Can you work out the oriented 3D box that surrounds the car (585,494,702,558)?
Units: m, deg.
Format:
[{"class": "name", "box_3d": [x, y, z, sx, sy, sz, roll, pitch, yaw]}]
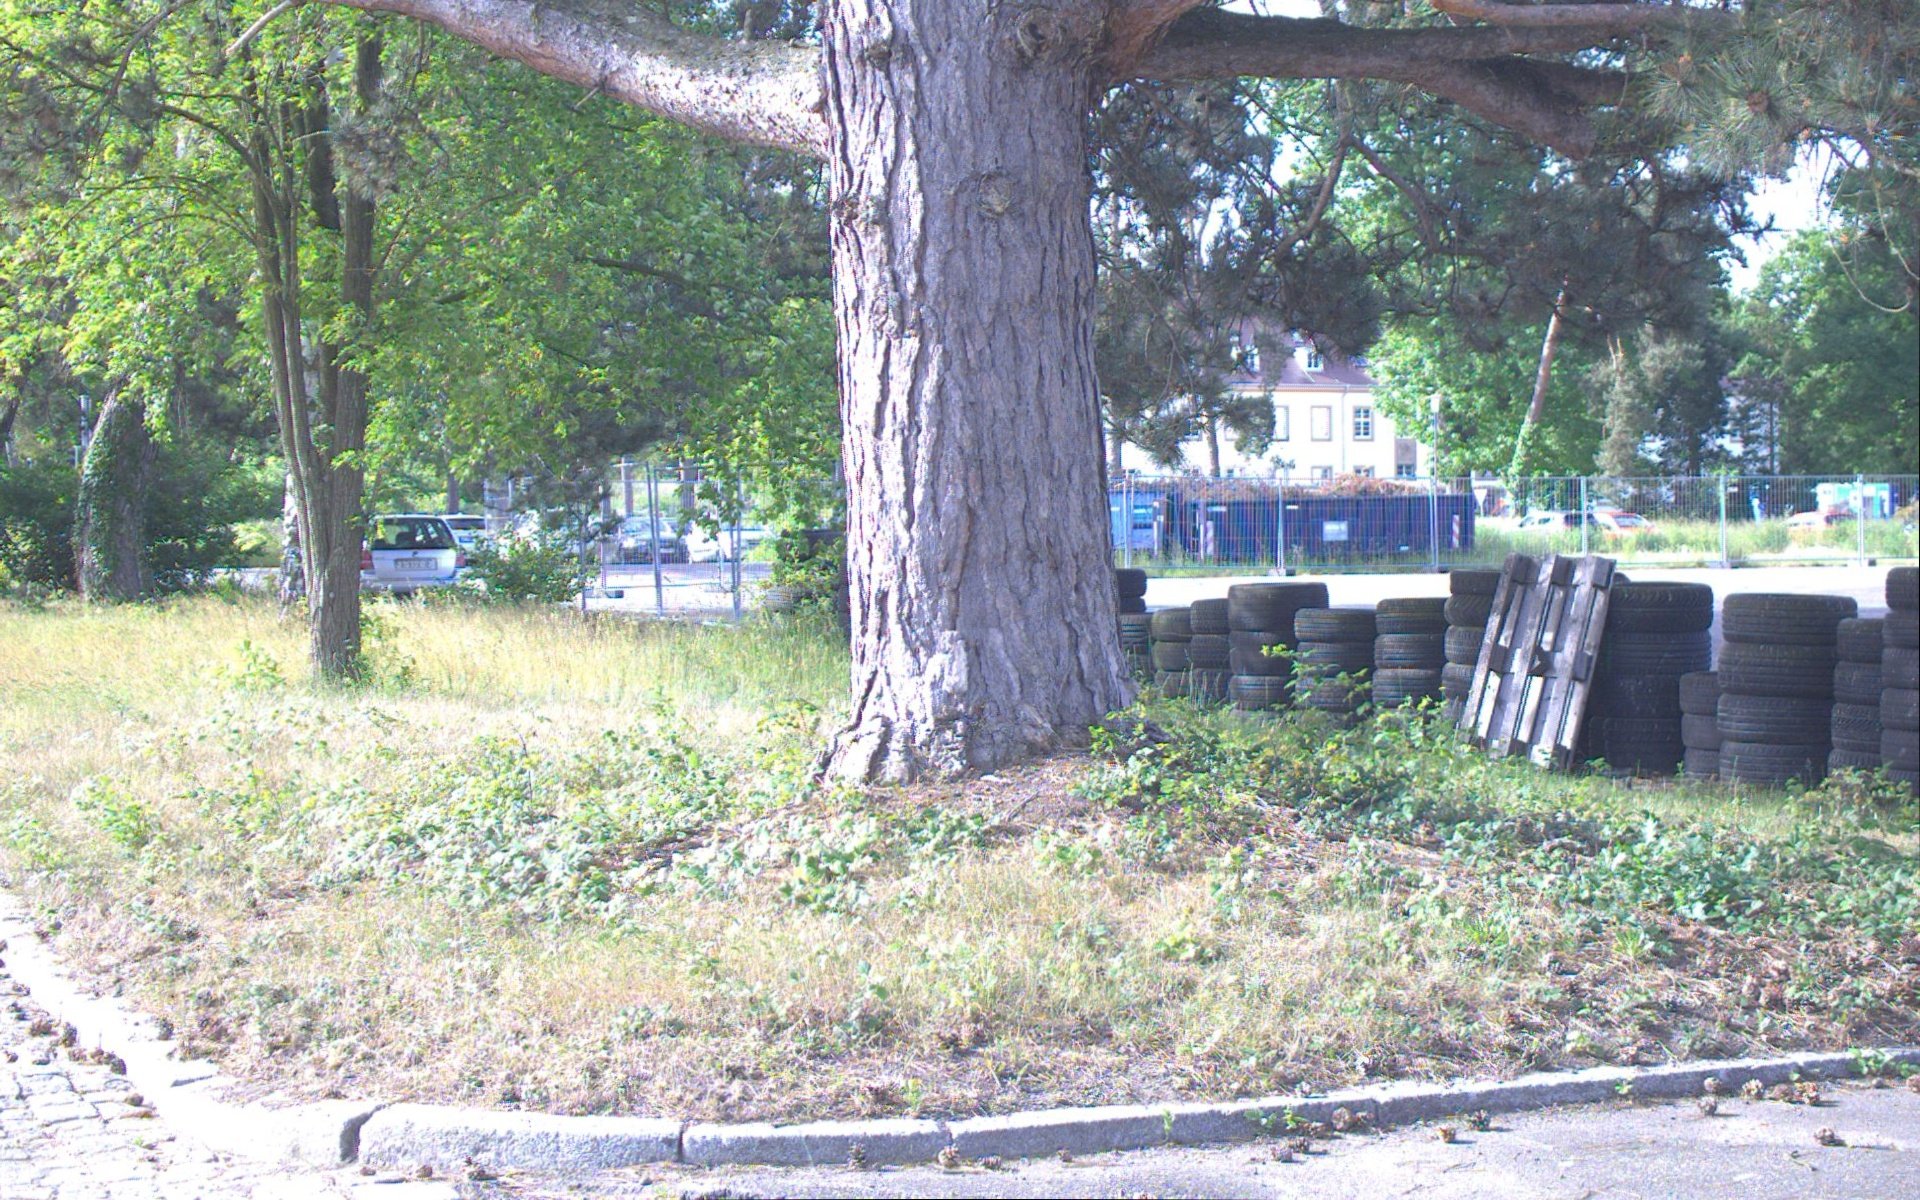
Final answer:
[{"class": "car", "box_3d": [-8.288, -1.934, 89.769, 1.993, 1.612, 4.001, -1, 2, -22]}]

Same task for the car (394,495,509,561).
[{"class": "car", "box_3d": [-12.947, -1.832, 87.339, 1.993, 1.612, 4.001, -1, 2, -22]}]

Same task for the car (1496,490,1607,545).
[{"class": "car", "box_3d": [19.372, -2.707, 112.781, 1.993, 1.744, 4.001, -1, 2, -17]}]

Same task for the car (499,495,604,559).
[{"class": "car", "box_3d": [-10.536, -1.893, 88.571, 1.820, 1.612, 4.001, -1, 2, -20]}]

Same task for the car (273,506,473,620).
[{"class": "car", "box_3d": [-8.384, -0.560, 48.860, 1.886, 1.535, 4.001, -1, 2, -23]}]

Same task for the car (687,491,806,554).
[{"class": "car", "box_3d": [-5.674, -2.056, 91.130, 1.993, 1.612, 4.001, -1, 2, -22]}]
